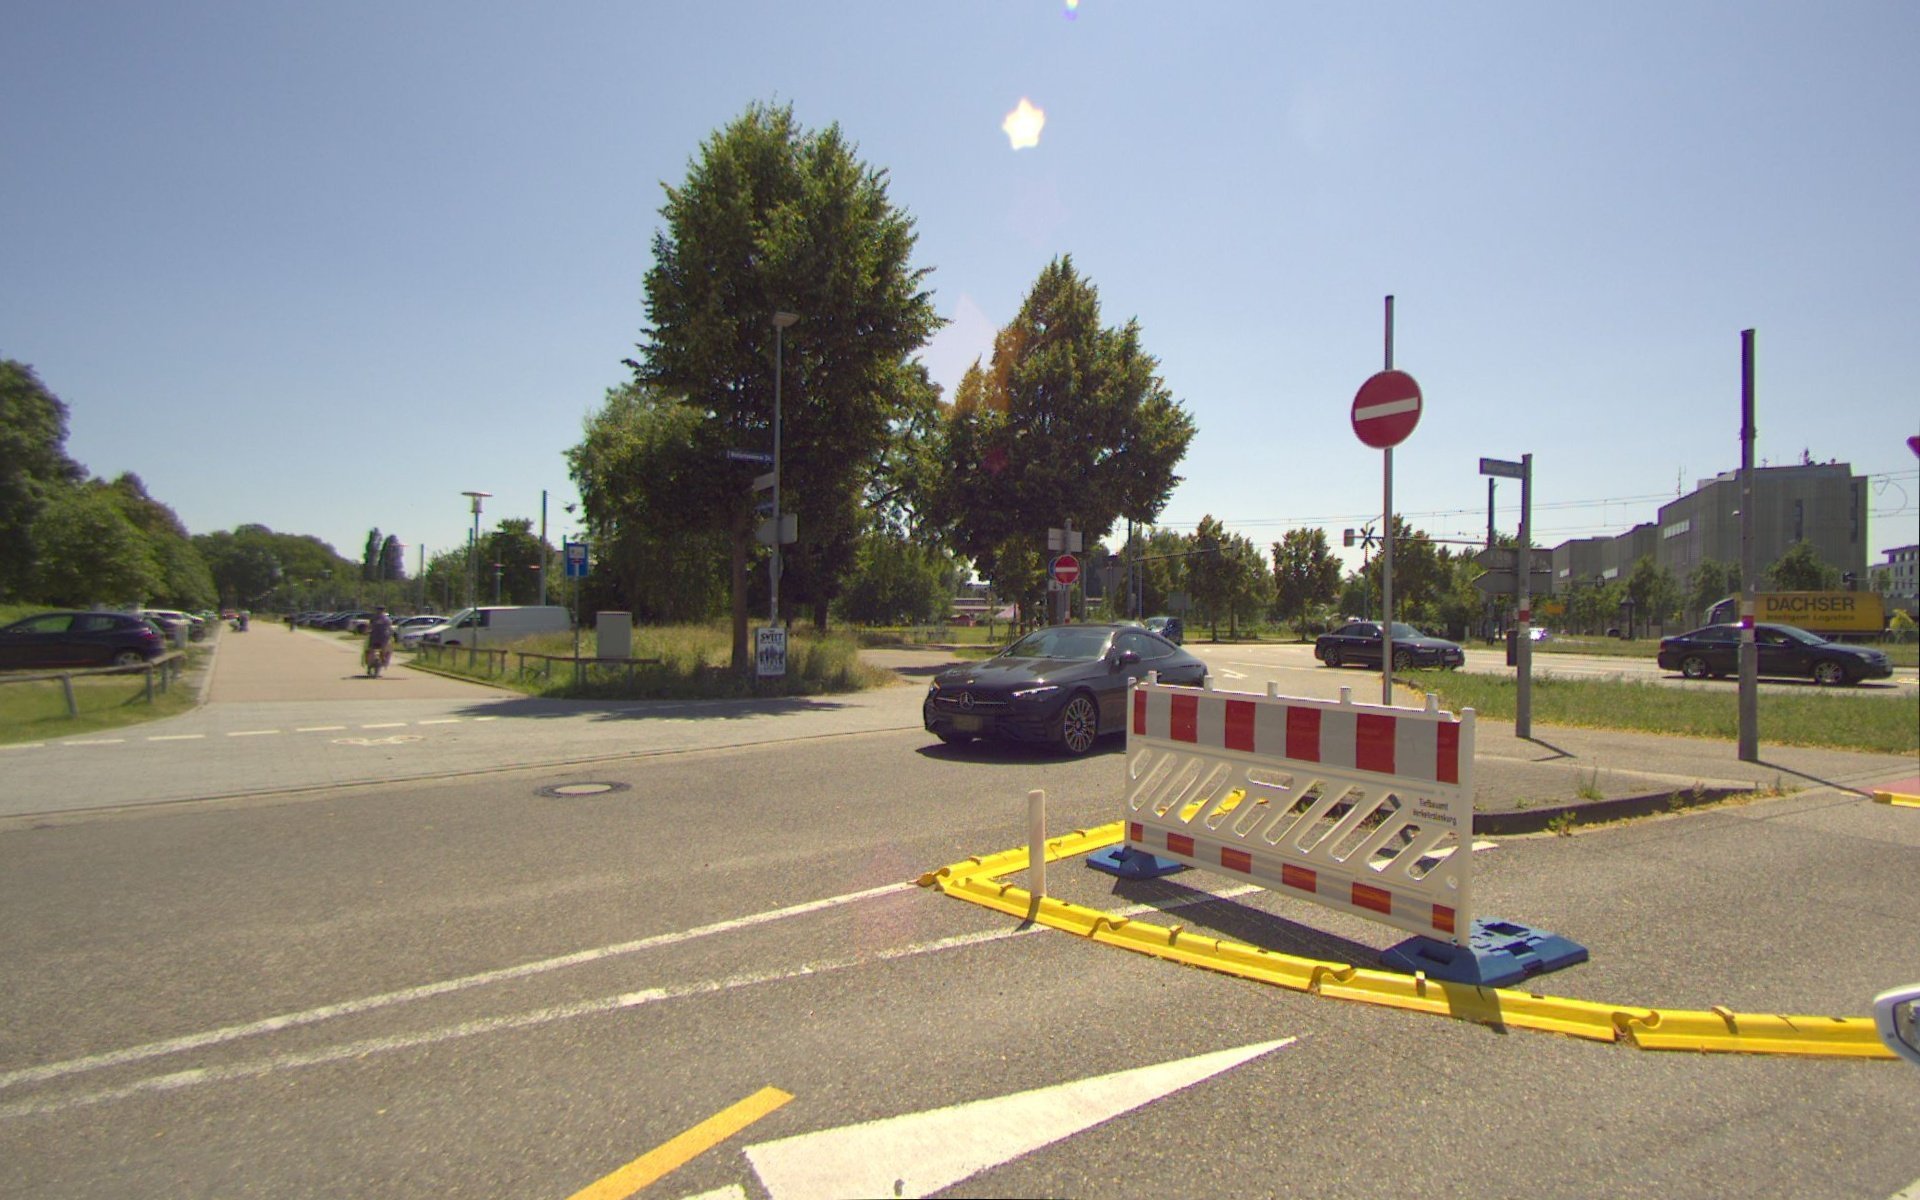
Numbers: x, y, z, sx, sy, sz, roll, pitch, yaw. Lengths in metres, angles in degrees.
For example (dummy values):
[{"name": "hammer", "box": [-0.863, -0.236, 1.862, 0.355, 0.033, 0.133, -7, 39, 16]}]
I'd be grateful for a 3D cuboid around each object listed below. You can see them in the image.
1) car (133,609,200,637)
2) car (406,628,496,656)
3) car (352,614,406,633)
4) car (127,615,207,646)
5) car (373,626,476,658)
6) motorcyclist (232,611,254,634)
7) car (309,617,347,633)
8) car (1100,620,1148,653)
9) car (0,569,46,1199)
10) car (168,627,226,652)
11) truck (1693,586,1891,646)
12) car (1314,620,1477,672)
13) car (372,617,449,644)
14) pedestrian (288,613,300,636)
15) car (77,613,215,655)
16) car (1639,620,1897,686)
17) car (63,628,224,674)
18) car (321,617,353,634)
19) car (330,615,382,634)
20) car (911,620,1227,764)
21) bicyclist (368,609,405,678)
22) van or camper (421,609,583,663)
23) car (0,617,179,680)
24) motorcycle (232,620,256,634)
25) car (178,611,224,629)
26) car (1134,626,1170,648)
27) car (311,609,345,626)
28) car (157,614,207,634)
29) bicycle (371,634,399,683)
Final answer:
[{"name": "car", "box": [-39.872, 1.181, 50.508, 2.499, 1.376, 1.075, 1, -1, -30]}, {"name": "car", "box": [-23.131, 1.901, 45.660, 3.480, 1.233, 1.343, 2, -1, -36]}, {"name": "car", "box": [-39.903, 1.604, 69.074, 3.189, 1.298, 1.346, 1, -1, -30]}, {"name": "car", "box": [-36.446, 1.405, 46.224, 2.716, 1.375, 1.163, 1, -1, -30]}, {"name": "car", "box": [-21.453, 1.675, 40.284, 3.480, 1.233, 1.343, 2, -1, -36]}, {"name": "motorcyclist", "box": [-51.819, 1.630, 72.638, 1.243, 1.630, 1.427, 1, -1, -35]}, {"name": "car", "box": [-61.984, 2.460, 98.543, 3.005, 1.487, 1.378, 1, -1, -30]}, {"name": "car", "box": [7.416, 1.622, 45.784, 1.688, 1.430, 4.620, 1, -1, 3]}, {"name": "car", "box": [-4.140, 0.619, 0.918, 1.771, 1.471, 4.605, 1, 0, 34]}, {"name": "car", "box": [-44.080, 2.270, 58.084, 2.499, 1.376, 1.075, 1, -1, -30]}, {"name": "truck", "box": [53.291, 0.992, 64.741, 9.437, 3.707, 2.704, 0, -1, 27]}, {"name": "car", "box": [13.128, 1.371, 30.619, 1.969, 1.468, 4.631, 1, -2, -19]}, {"name": "car", "box": [-27.797, 1.543, 50.869, 3.342, 1.298, 1.346, 1, -1, -29]}, {"name": "pedestrian", "box": [-49.395, 1.811, 74.480, 0.666, 1.686, 1.326, 1, -1, -36]}, {"name": "car", "box": [-29.789, 1.259, 36.910, 3.772, 1.344, 1.643, 4, -2, -36]}, {"name": "car", "box": [20.141, 1.252, 25.272, 1.978, 1.468, 4.716, 1, -1, -33]}, {"name": "car", "box": [-23.258, 1.427, 28.778, 3.480, 1.233, 1.343, 2, -1, -36]}, {"name": "car", "box": [-60.100, 2.461, 96.904, 2.531, 1.513, 1.125, 1, -1, -30]}, {"name": "car", "box": [-48.644, 1.993, 80.862, 3.504, 1.483, 1.534, 1, -1, -35]}, {"name": "car", "box": [1.540, 0.987, 12.350, 1.792, 1.422, 4.617, -2, -2, 36]}, {"name": "bicyclist", "box": [-14.296, 1.084, 25.070, 0.706, 1.659, 0.967, 3, -2, -30]}, {"name": "van or camper", "box": [-17.119, 1.331, 37.697, 5.224, 1.882, 1.979, 2, -1, -37]}, {"name": "car", "box": [-20.296, 1.081, 22.961, 3.771, 1.344, 1.643, 2, -1, -36]}, {"name": "motorcycle", "box": [-51.997, 1.970, 72.928, 1.358, 0.934, 3.194, 1, -1, -35]}, {"name": "car", "box": [-89.180, 2.380, 118.062, 3.952, 2.040, 1.984, 1, -1, -30]}, {"name": "car", "box": [11.437, 2.168, 59.703, 1.613, 1.244, 3.261, 0, -1, 20]}, {"name": "car", "box": [-65.553, 1.853, 104.220, 2.966, 1.746, 1.125, 1, -1, -30]}, {"name": "car", "box": [-83.069, 2.563, 107.347, 3.952, 2.040, 1.984, 1, -1, -30]}, {"name": "bicycle", "box": [-14.275, 1.439, 24.964, 0.544, 1.127, 1.664, 3, -2, -29]}]
